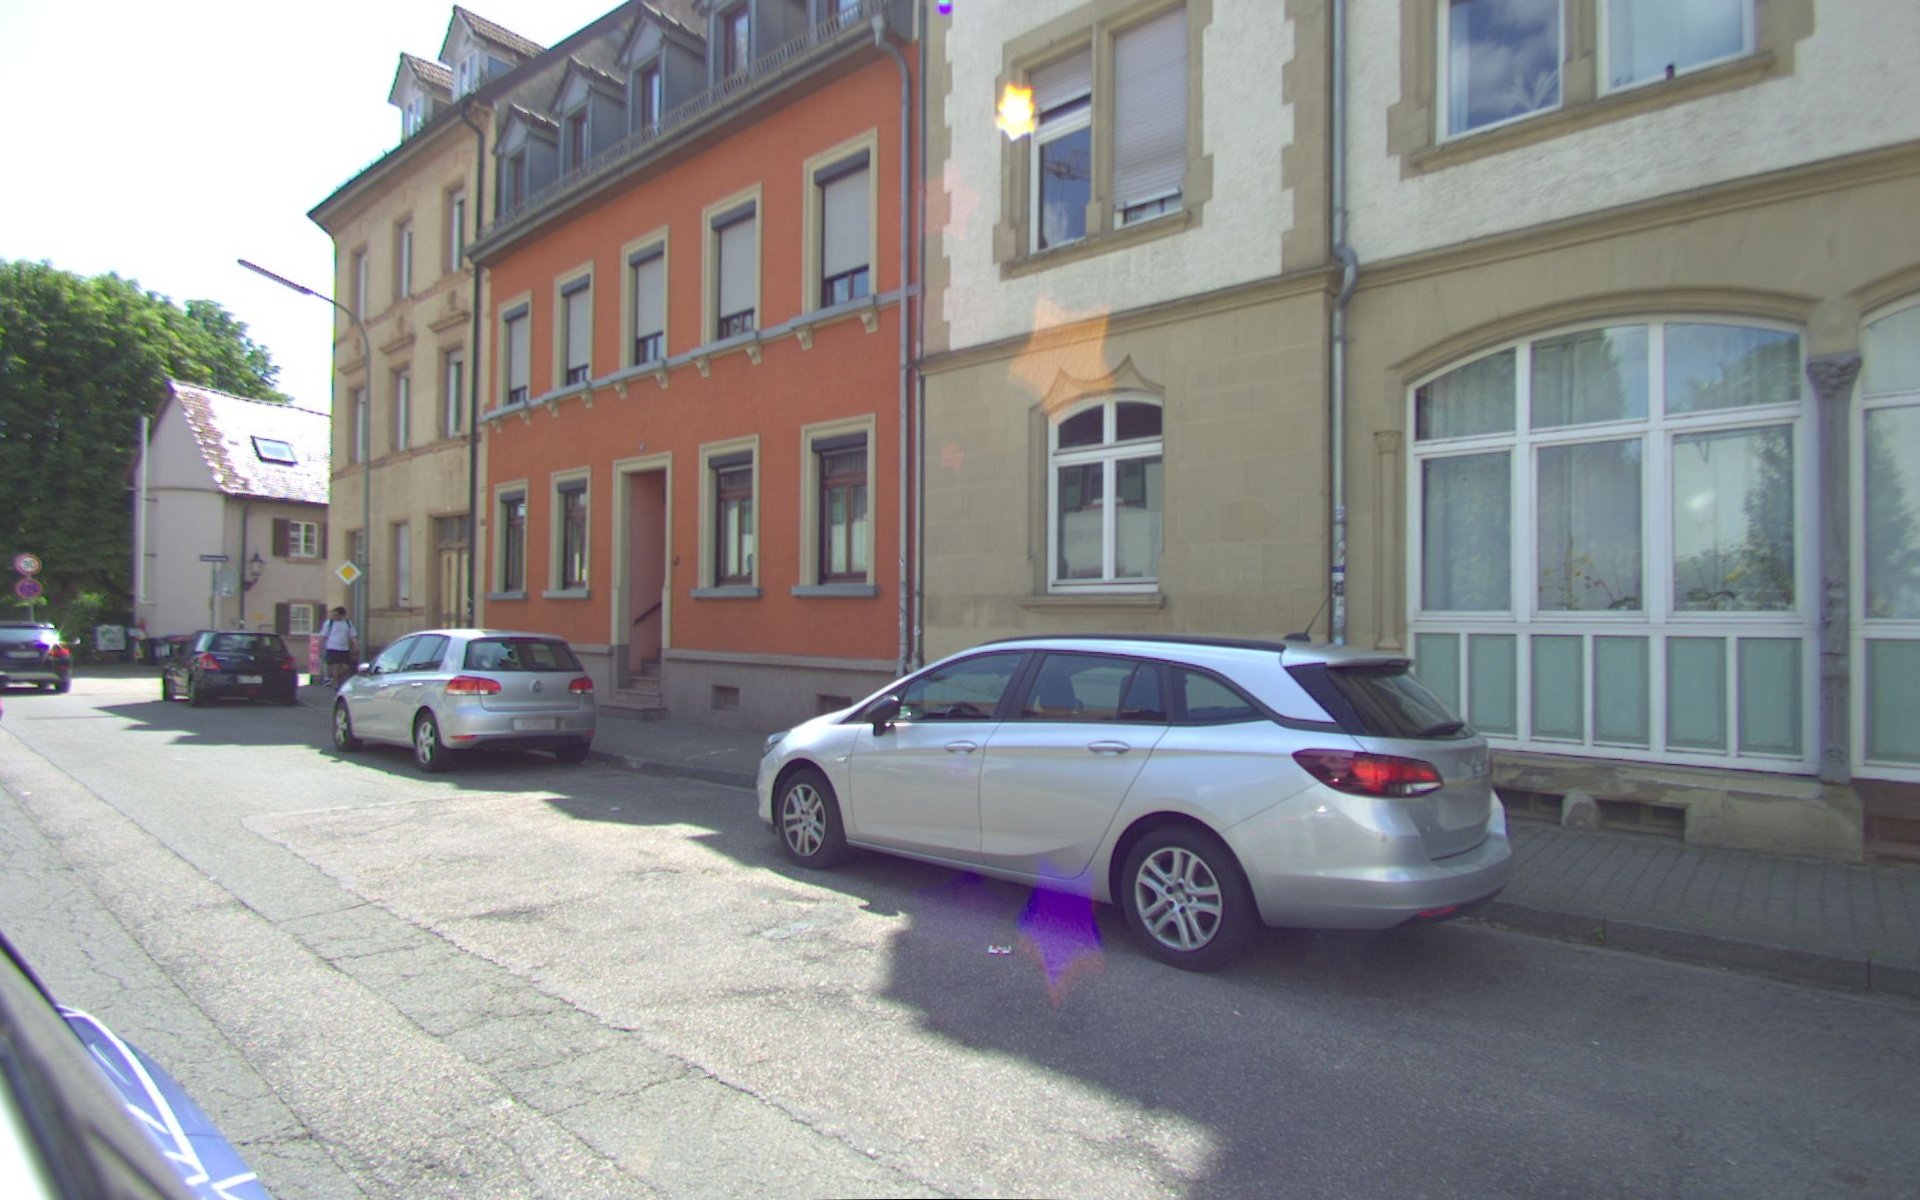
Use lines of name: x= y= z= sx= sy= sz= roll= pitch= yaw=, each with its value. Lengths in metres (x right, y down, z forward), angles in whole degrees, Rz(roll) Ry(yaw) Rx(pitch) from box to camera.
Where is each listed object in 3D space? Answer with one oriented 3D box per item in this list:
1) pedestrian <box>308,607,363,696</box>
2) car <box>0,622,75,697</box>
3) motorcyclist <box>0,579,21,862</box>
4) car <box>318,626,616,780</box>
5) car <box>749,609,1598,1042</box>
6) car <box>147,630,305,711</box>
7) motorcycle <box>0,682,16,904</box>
pedestrian: x=-12.858 y=1.040 z=20.850 sx=0.763 sy=1.784 sz=0.760 roll=-1 pitch=-1 yaw=41
car: x=-21.014 y=1.272 z=22.389 sx=4.063 sy=1.537 sz=1.767 roll=-2 pitch=-3 yaw=43
motorcyclist: x=-5.511 y=0.624 z=5.291 sx=1.020 sy=1.451 sz=0.783 roll=-1 pitch=-1 yaw=41
car: x=-5.749 y=1.065 z=11.625 sx=3.851 sy=1.470 sz=1.692 roll=-1 pitch=-4 yaw=41
car: x=0.886 y=0.857 z=5.745 sx=4.380 sy=1.522 sz=1.858 roll=-1 pitch=-2 yaw=42
car: x=-14.682 y=1.326 z=20.173 sx=3.855 sy=1.453 sz=1.710 roll=-1 pitch=-2 yaw=41
motorcycle: x=-5.686 y=0.982 z=5.411 sx=1.991 sy=1.063 sz=0.750 roll=-1 pitch=-1 yaw=42
